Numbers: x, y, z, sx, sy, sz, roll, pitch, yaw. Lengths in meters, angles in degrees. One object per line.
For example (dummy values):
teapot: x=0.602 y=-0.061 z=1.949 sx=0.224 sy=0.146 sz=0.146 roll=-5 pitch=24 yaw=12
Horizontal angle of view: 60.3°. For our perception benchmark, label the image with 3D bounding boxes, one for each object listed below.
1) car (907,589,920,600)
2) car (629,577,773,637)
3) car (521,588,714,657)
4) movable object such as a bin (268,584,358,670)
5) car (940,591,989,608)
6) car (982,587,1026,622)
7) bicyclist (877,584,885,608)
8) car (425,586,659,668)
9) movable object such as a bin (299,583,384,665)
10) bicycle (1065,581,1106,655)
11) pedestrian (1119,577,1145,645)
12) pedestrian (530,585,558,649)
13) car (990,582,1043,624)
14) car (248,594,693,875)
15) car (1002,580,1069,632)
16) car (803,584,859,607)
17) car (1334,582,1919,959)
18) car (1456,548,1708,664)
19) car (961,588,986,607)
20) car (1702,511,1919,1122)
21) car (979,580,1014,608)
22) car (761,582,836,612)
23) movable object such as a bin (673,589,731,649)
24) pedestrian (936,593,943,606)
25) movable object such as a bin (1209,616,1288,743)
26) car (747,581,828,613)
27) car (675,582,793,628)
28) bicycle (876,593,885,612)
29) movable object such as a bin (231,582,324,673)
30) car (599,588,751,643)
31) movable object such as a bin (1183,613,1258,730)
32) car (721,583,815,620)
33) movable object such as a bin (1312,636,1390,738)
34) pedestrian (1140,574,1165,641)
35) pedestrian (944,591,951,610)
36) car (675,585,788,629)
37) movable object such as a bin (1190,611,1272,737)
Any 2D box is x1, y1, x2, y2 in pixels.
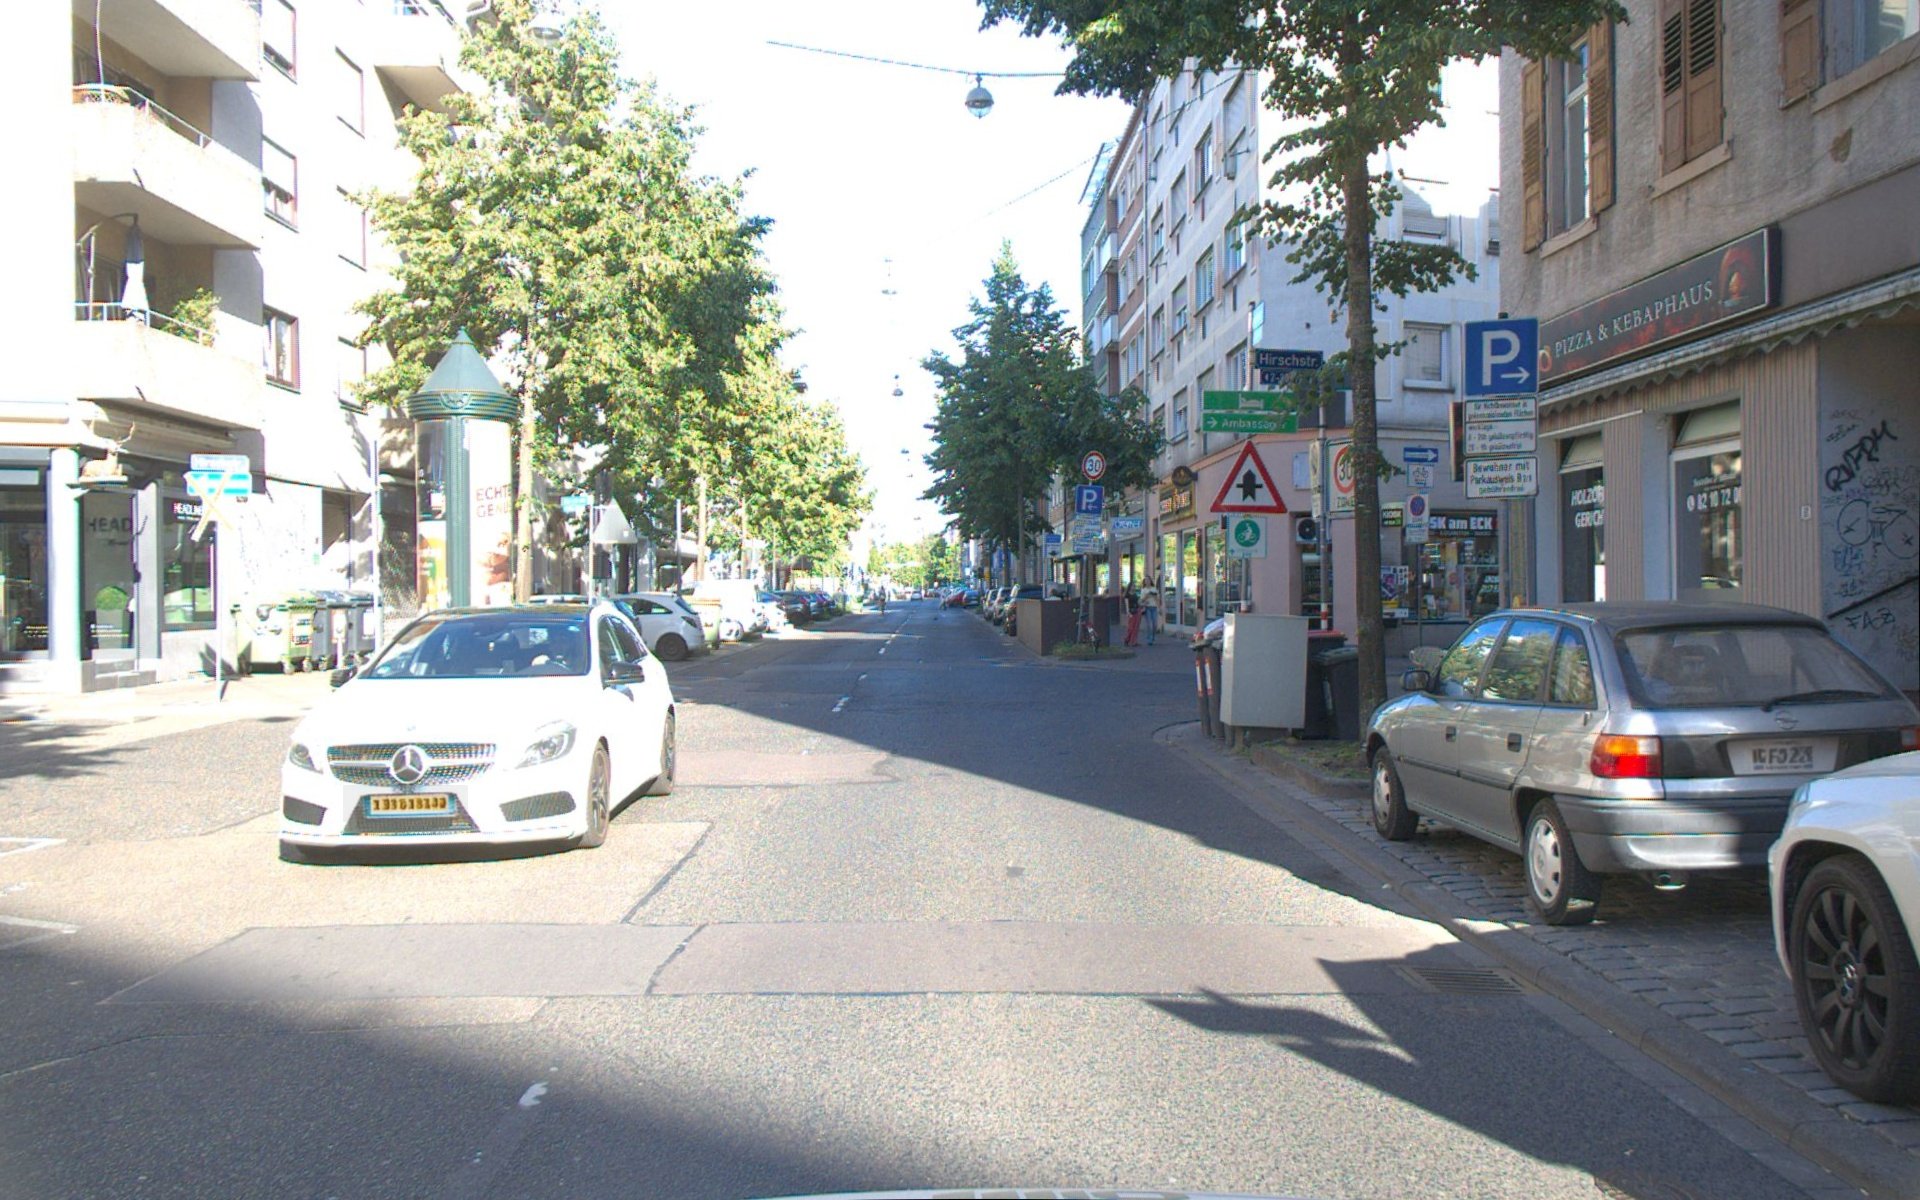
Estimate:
car: x=-6.386 y=-0.808 z=228.646 sx=1.756 sy=1.436 sz=3.999 roll=-1 pitch=1 yaw=-1
car: x=-7.778 y=0.191 z=49.881 sx=3.903 sy=1.724 sz=2.001 roll=-1 pitch=1 yaw=3
car: x=-7.588 y=0.473 z=36.972 sx=3.907 sy=1.414 sz=1.999 roll=-1 pitch=1 yaw=-2
movable object such as a bin: x=-11.761 y=0.467 z=30.119 sx=1.148 sy=1.511 sz=1.314 roll=-1 pitch=0 yaw=-3
car: x=0.403 y=-0.066 z=145.428 sx=3.955 sy=1.467 sz=1.975 roll=0 pitch=0 yaw=-36
car: x=2.108 y=0.195 z=80.997 sx=1.953 sy=1.637 sz=3.999 roll=-1 pitch=1 yaw=-1
bicyclist: x=-5.040 y=-0.258 z=105.558 sx=0.549 sy=1.575 sz=0.728 roll=0 pitch=0 yaw=-1
car: x=-7.810 y=0.488 z=31.180 sx=3.907 sy=1.414 sz=1.999 roll=-1 pitch=1 yaw=-2
movable object such as a bin: x=-11.854 y=0.449 z=31.747 sx=1.148 sy=1.511 sz=1.314 roll=-1 pitch=0 yaw=-3
bicycle: x=2.669 y=0.367 z=35.326 sx=0.549 sy=1.465 sz=1.628 roll=-6 pitch=1 yaw=-1
pedestrian: x=4.281 y=0.259 z=41.174 sx=0.536 sy=1.678 sz=0.664 roll=-1 pitch=0 yaw=-1
pedestrian: x=-11.107 y=0.449 z=44.176 sx=0.535 sy=1.678 sz=0.664 roll=-1 pitch=0 yaw=1
car: x=2.306 y=0.100 z=68.361 sx=1.953 sy=1.637 sz=3.999 roll=-1 pitch=1 yaw=-1
car: x=-2.935 y=0.698 z=10.932 sx=1.766 sy=1.460 sz=4.408 roll=0 pitch=0 yaw=-2
car: x=2.472 y=0.167 z=54.989 sx=1.953 sy=1.637 sz=3.999 roll=-1 pitch=1 yaw=-1
car: x=-9.152 y=-0.351 z=117.589 sx=3.907 sy=1.526 sz=1.999 roll=-1 pitch=1 yaw=-2
car: x=3.471 y=0.666 z=8.815 sx=1.786 sy=1.415 sz=4.299 roll=-3 pitch=0 yaw=-2
car: x=11.938 y=0.063 z=31.678 sx=4.628 sy=2.049 sz=1.982 roll=-1 pitch=1 yaw=-28
car: x=1.117 y=-0.231 z=136.339 sx=1.953 sy=1.534 sz=3.999 roll=0 pitch=0 yaw=-2
car: x=3.550 y=0.568 z=3.496 sx=1.785 sy=1.708 sz=4.600 roll=-3 pitch=0 yaw=-1
car: x=2.227 y=-0.373 z=101.340 sx=1.953 sy=1.637 sz=3.999 roll=-1 pitch=1 yaw=-1
car: x=-8.736 y=-0.156 z=89.645 sx=3.907 sy=1.526 sz=1.999 roll=-1 pitch=1 yaw=-2
movable object such as a bin: x=-6.792 y=0.489 z=43.667 sx=1.307 sy=1.504 sz=1.480 roll=-1 pitch=0 yaw=-2
pedestrian: x=-1.611 y=-0.037 z=129.061 sx=0.534 sy=1.044 sz=0.546 roll=-1 pitch=0 yaw=-3
movable object such as a bin: x=2.835 y=0.767 z=16.282 sx=0.609 sy=1.200 sz=0.711 roll=-1 pitch=1 yaw=-3
car: x=-8.692 y=-0.180 z=83.400 sx=3.907 sy=1.526 sz=1.999 roll=-1 pitch=1 yaw=-2
car: x=-7.982 y=0.175 z=58.694 sx=3.907 sy=1.526 sz=1.999 roll=-1 pitch=1 yaw=-2
bicycle: x=-5.057 y=0.152 z=105.541 sx=0.549 sy=1.200 sz=1.628 roll=0 pitch=0 yaw=-1
movable object such as a bin: x=-11.806 y=0.458 z=28.662 sx=1.117 sy=1.511 sz=1.235 roll=-1 pitch=0 yaw=-3
car: x=-8.073 y=0.427 z=47.076 sx=3.903 sy=1.482 sz=1.869 roll=-1 pitch=1 yaw=3
movable object such as a bin: x=2.801 y=0.759 z=17.862 sx=0.646 sy=1.200 sz=0.739 roll=-1 pitch=1 yaw=-3
car: x=-8.402 y=0.043 z=72.636 sx=3.907 sy=1.526 sz=1.999 roll=-1 pitch=1 yaw=-2
movable object such as a bin: x=3.667 y=0.809 z=15.543 sx=0.551 sy=0.911 sz=0.628 roll=-1 pitch=1 yaw=-3
pedestrian: x=4.842 y=0.181 z=41.612 sx=0.536 sy=1.678 sz=0.664 roll=-1 pitch=0 yaw=-1
pedestrian: x=-0.975 y=0.020 z=129.572 sx=0.534 sy=1.498 sz=0.546 roll=-1 pitch=0 yaw=-3
car: x=-8.419 y=0.265 z=61.189 sx=3.907 sy=1.526 sz=1.999 roll=-1 pitch=-1 yaw=-2
movable object such as a bin: x=2.797 y=0.752 z=17.120 sx=0.691 sy=1.244 sz=0.680 roll=-1 pitch=1 yaw=-3
